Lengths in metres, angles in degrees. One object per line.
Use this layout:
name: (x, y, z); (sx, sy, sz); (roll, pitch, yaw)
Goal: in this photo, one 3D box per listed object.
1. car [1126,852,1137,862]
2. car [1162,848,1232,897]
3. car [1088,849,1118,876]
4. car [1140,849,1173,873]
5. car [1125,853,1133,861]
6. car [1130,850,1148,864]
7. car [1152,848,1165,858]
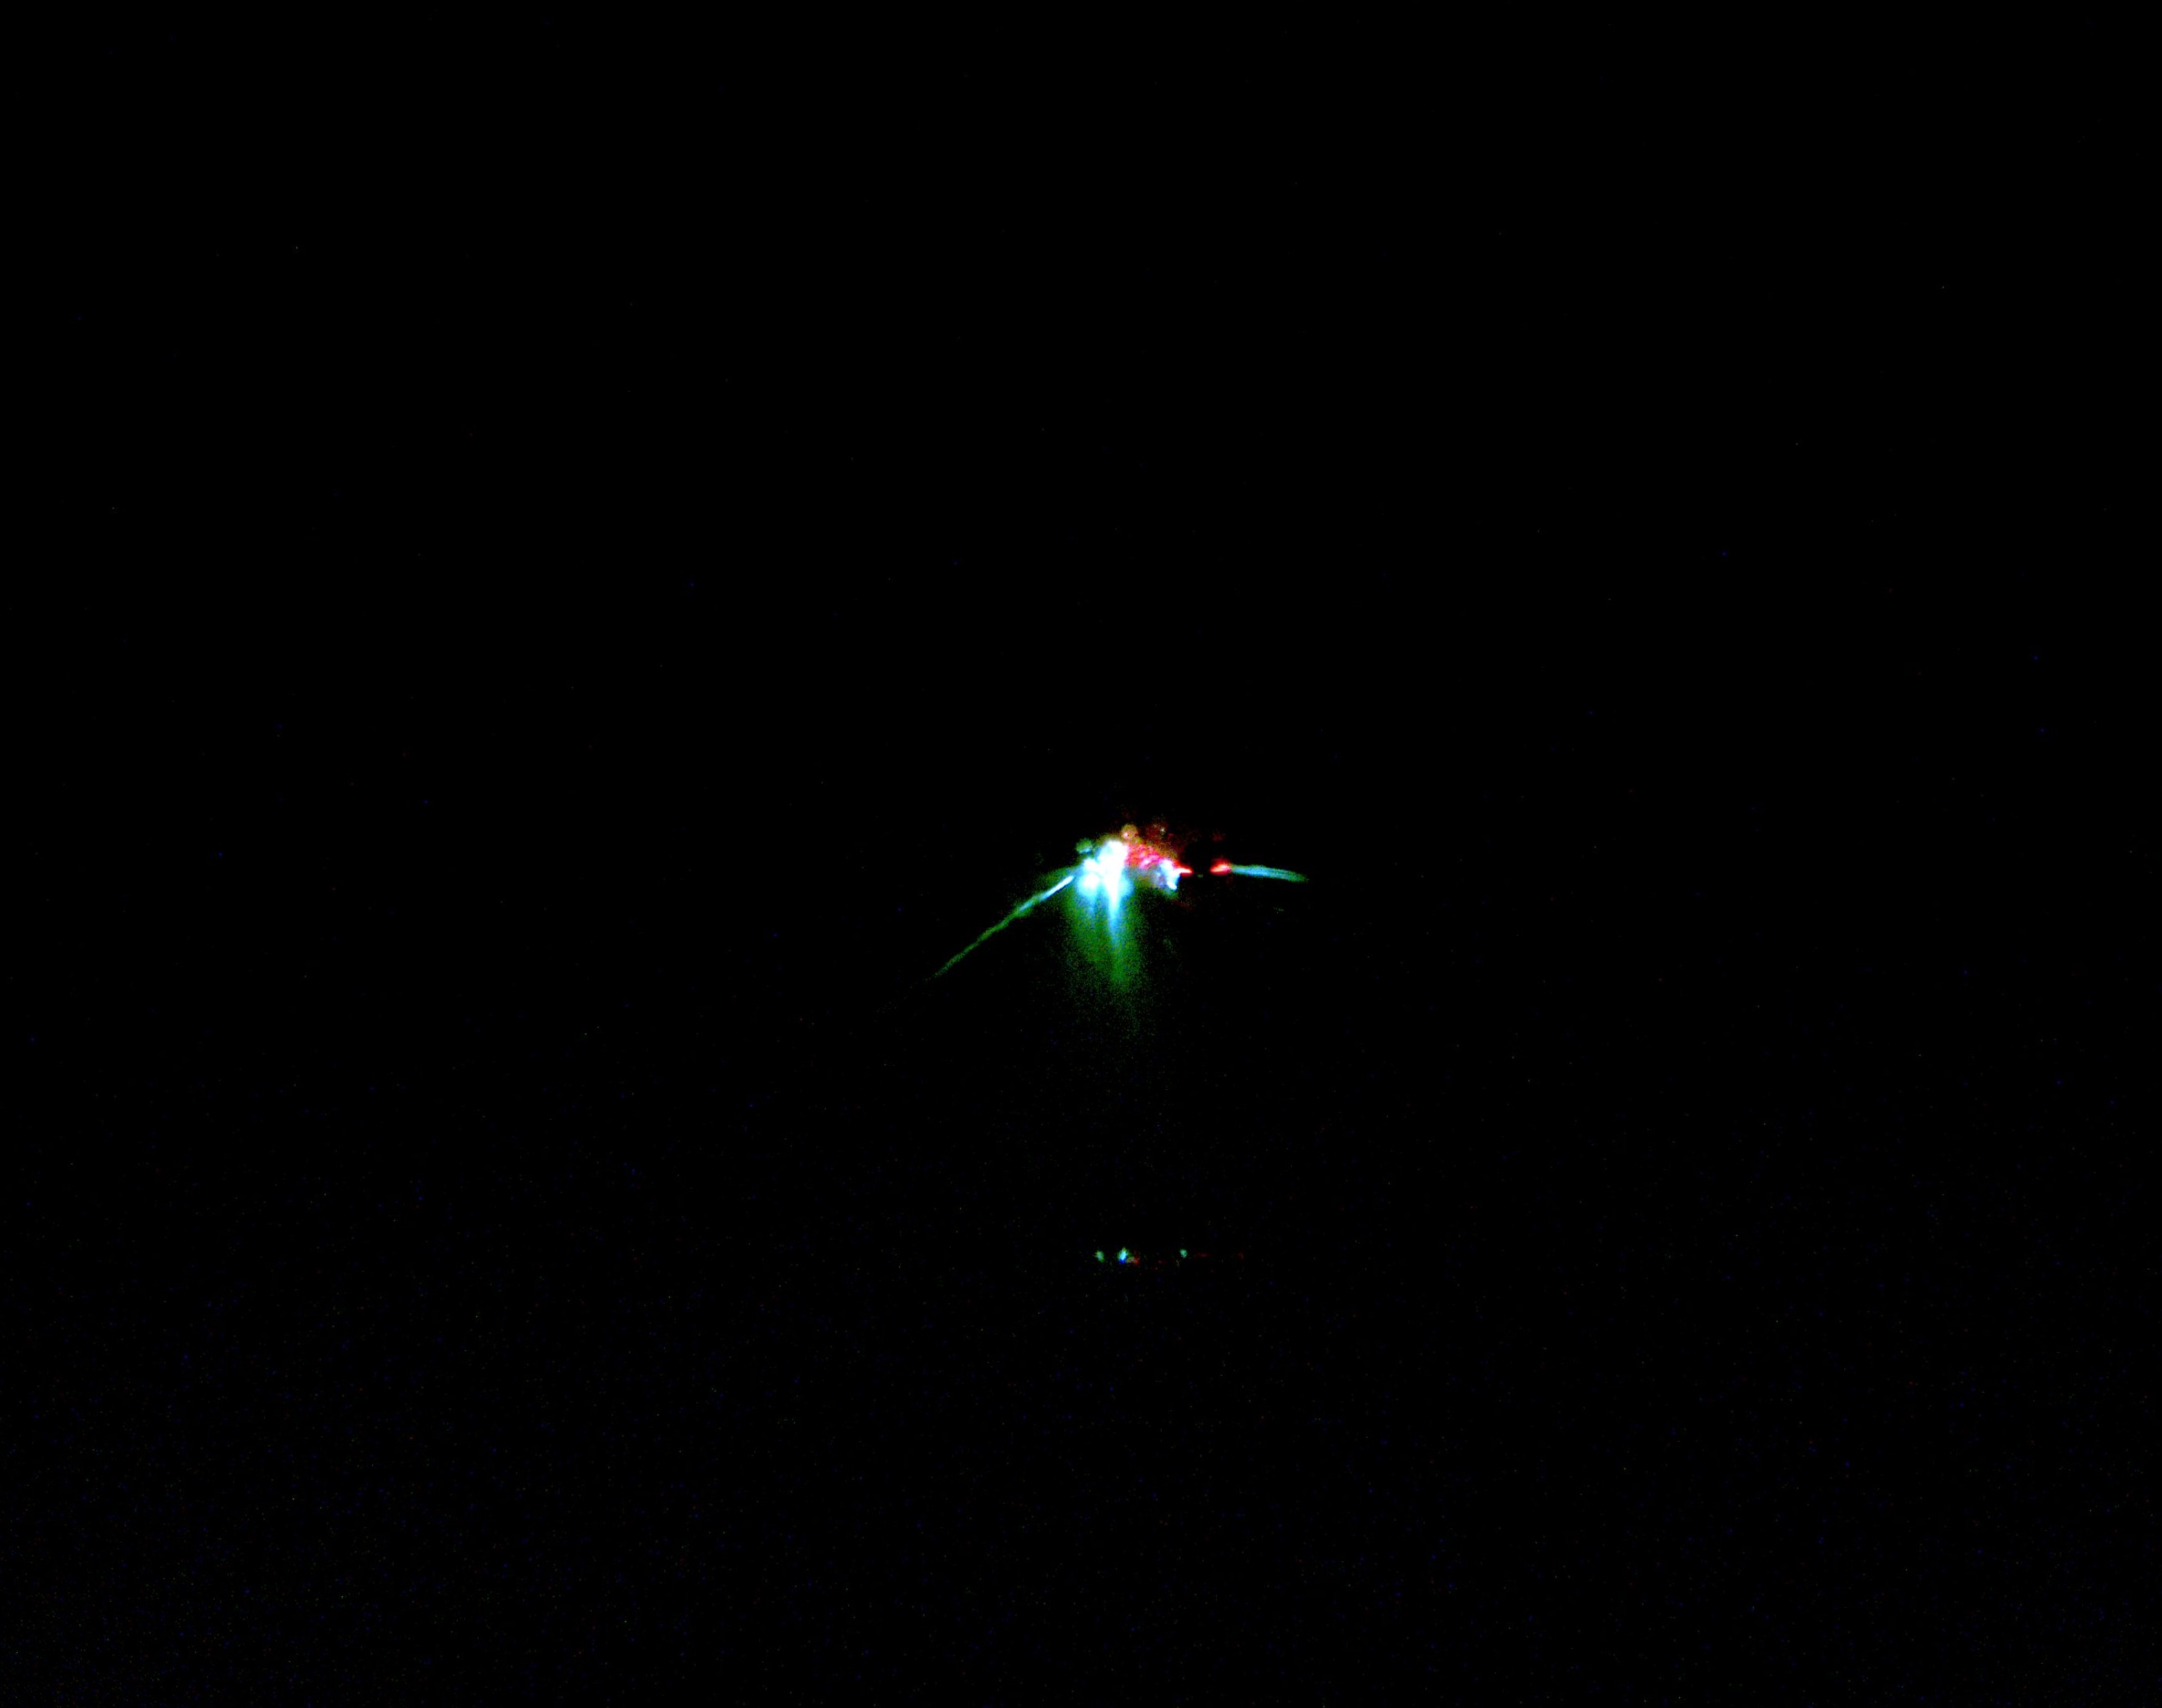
car: (8.258, 0.534, 123.920); (1.720, 1.545, 4.001); (-3, 0, 3)
car: (4.041, 0.592, 27.186); (1.860, 1.512, 4.681); (-3, 0, 2)
car: (1.669, 0.619, 56.115); (1.998, 1.804, 4.001); (-5, 0, 3)
car: (5.209, 0.462, 52.964); (1.980, 1.453, 4.283); (-3, 0, 3)
car: (11.729, 0.716, 186.450); (1.789, 1.623, 4.426); (-3, 0, 3)
car: (7.070, 0.365, 92.736); (1.998, 1.488, 4.357); (-4, 0, 3)
car: (12.780, -0.163, 126.230); (1.834, 1.545, 4.442); (-3, 0, 3)
